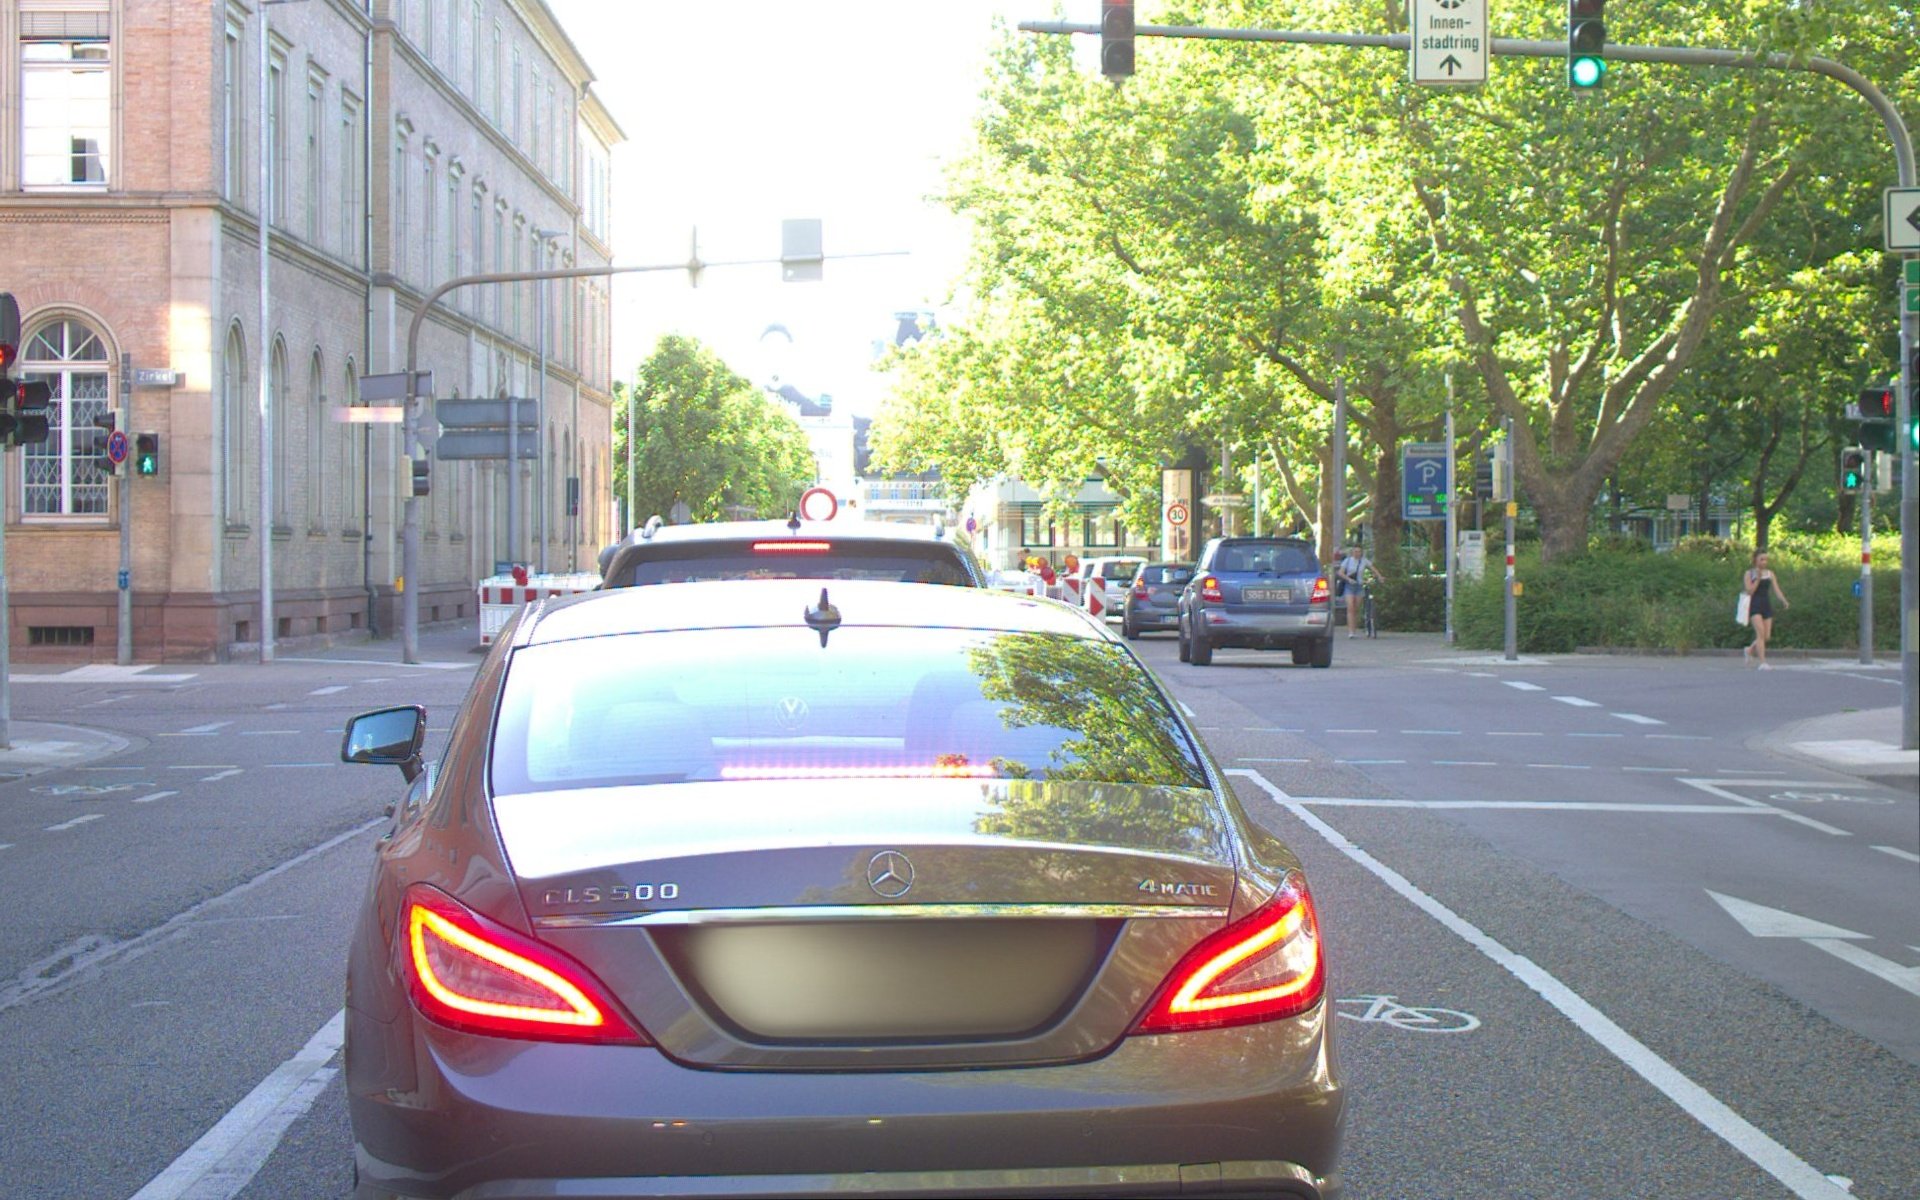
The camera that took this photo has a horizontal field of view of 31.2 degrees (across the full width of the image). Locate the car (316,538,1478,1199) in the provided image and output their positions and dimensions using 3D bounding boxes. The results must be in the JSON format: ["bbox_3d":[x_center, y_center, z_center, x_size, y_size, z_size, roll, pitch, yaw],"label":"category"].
[{"bbox_3d":[-0.357,0.631,7.481,1.861,1.514,4.001,0,1,-8],"label":"car"}]

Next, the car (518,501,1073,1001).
[{"bbox_3d":[-0.578,0.477,13.611,1.861,1.677,4.000,0,1,-1],"label":"car"}]

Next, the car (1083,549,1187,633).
[{"bbox_3d":[3.253,-0.196,64.522,1.704,1.514,4.000,0,1,-1],"label":"car"}]

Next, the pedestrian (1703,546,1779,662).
[{"bbox_3d":[10.502,0.047,46.254,0.635,1.540,0.910,1,0,-14],"label":"pedestrian"}]

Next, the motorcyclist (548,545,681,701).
[{"bbox_3d":[-2.916,0.188,29.056,0.801,1.290,0.788,1,0,28],"label":"motorcyclist"}]

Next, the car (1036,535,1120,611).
[{"bbox_3d":[2.662,-0.615,78.395,1.731,1.656,3.681,1,1,-1],"label":"car"}]

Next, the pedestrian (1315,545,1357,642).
[{"bbox_3d":[6.913,-0.122,63.230,0.635,1.754,0.699,1,0,-4],"label":"pedestrian"}]

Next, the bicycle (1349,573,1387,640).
[{"bbox_3d":[7.486,0.116,63.100,0.482,1.198,1.606,1,0,-1],"label":"bicycle"}]

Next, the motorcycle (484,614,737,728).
[{"bbox_3d":[-2.963,0.586,29.081,2.056,0.889,0.754,1,1,29],"label":"motorcycle"}]

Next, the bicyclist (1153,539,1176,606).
[{"bbox_3d":[6.244,-0.845,105.151,0.594,2.032,0.566,1,0,-4],"label":"bicyclist"}]

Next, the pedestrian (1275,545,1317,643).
[{"bbox_3d":[6.169,-0.112,63.162,0.635,1.791,0.699,1,0,-4],"label":"pedestrian"}]

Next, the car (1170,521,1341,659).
[{"bbox_3d":[3.933,-0.167,46.465,1.861,1.758,4.482,0,1,-1],"label":"car"}]
